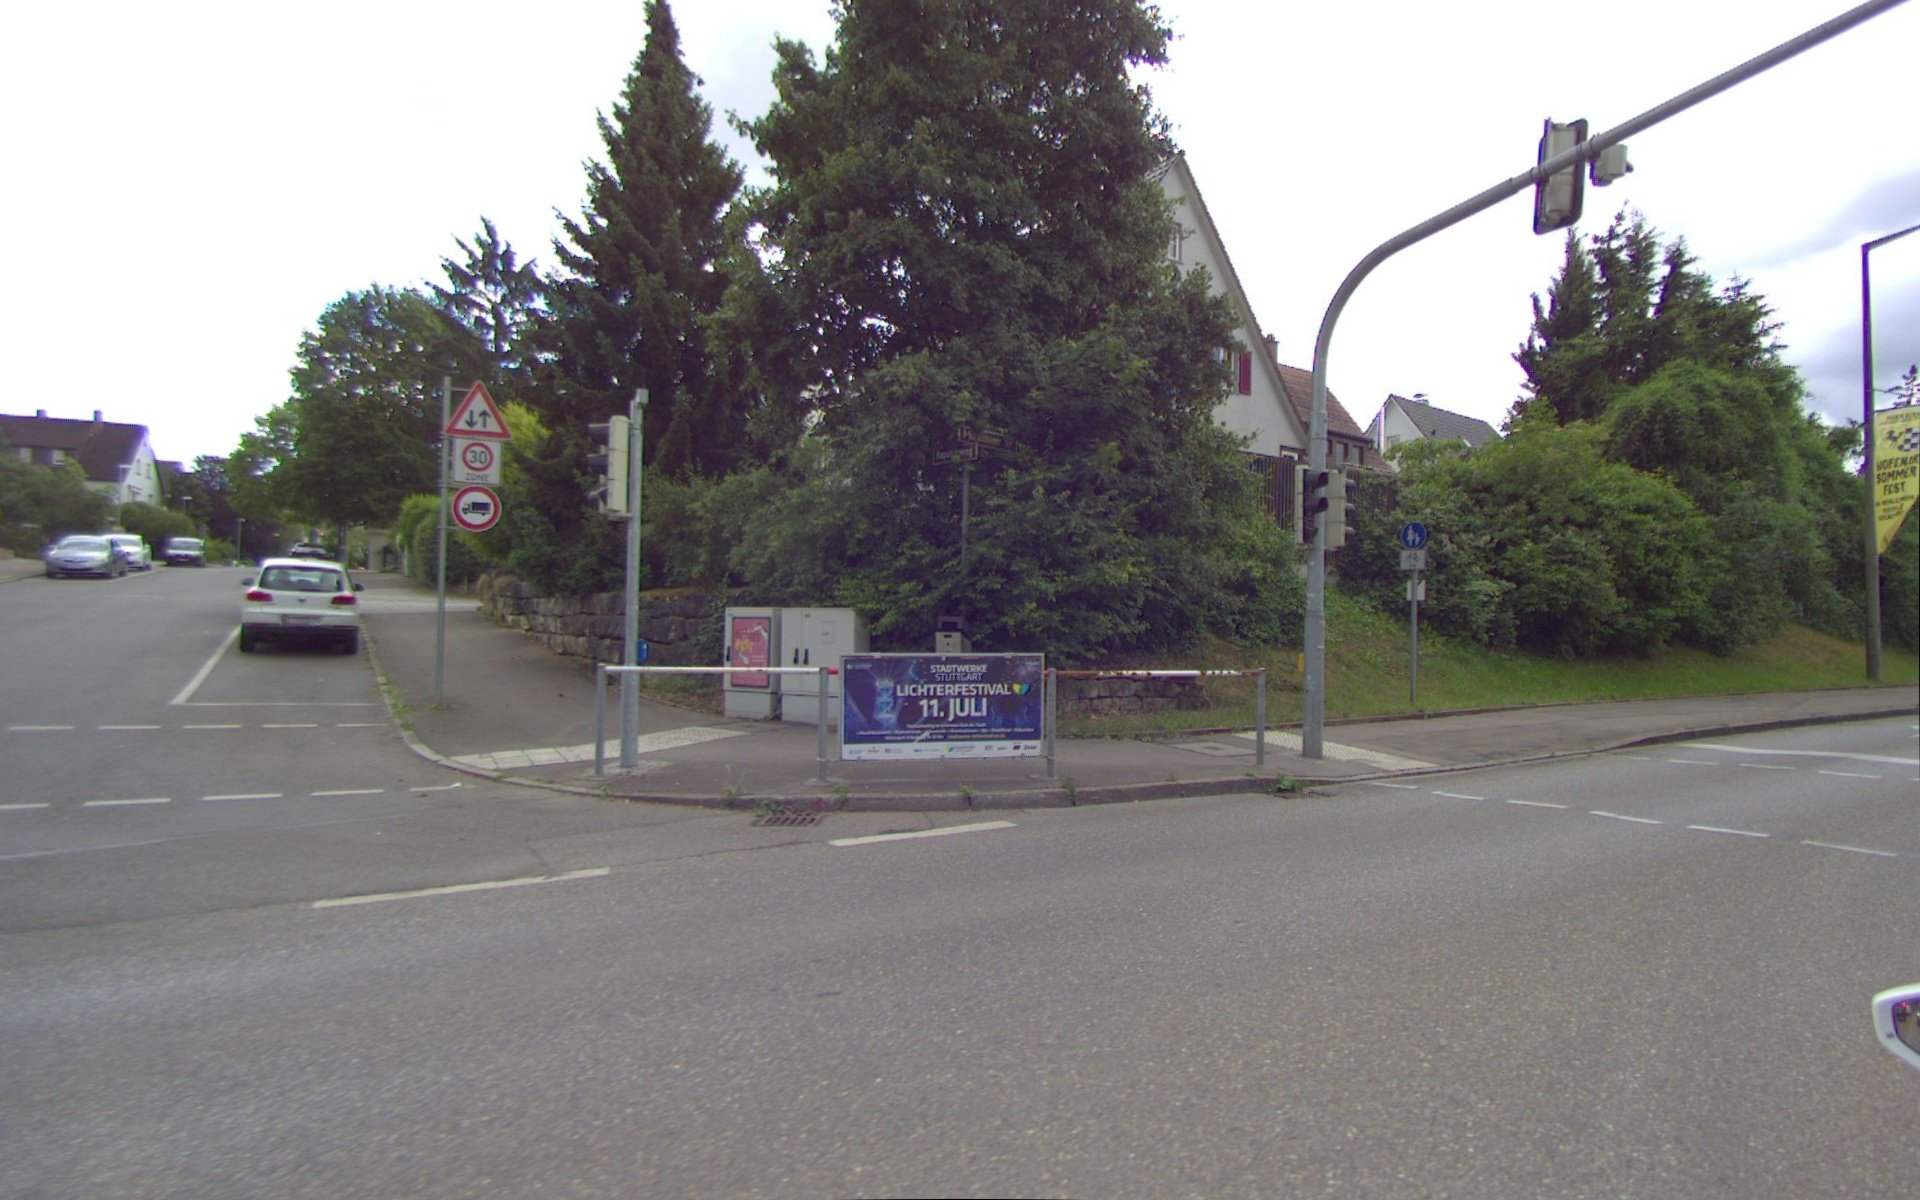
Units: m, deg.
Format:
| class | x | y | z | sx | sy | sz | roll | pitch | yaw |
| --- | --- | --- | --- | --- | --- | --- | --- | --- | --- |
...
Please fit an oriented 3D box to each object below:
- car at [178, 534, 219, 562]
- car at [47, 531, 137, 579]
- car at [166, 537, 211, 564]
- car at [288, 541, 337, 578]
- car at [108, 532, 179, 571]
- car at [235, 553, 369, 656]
| class | x | y | z | sx | sy | sz | roll | pitch | yaw |
| --- | --- | --- | --- | --- | --- | --- | --- | --- | --- |
| car | -54.273 | -3.736 | 71.640 | 1.853 | 1.861 | 3.966 | 2 | 2 | -31 |
| car | -31.102 | -1.632 | 36.110 | 1.780 | 1.530 | 3.965 | 2 | 2 | -31 |
| car | -49.442 | -3.200 | 64.472 | 1.780 | 1.530 | 3.966 | 2 | 2 | -31 |
| car | -30.595 | -1.947 | 47.546 | 1.821 | 1.557 | 3.964 | 3 | 2 | -32 |
| car | -35.433 | -2.115 | 43.657 | 1.780 | 1.530 | 3.966 | 2 | 2 | -31 |
| car | -12.553 | 0.028 | 19.252 | 1.897 | 1.663 | 3.963 | 3 | 1 | -33 |
